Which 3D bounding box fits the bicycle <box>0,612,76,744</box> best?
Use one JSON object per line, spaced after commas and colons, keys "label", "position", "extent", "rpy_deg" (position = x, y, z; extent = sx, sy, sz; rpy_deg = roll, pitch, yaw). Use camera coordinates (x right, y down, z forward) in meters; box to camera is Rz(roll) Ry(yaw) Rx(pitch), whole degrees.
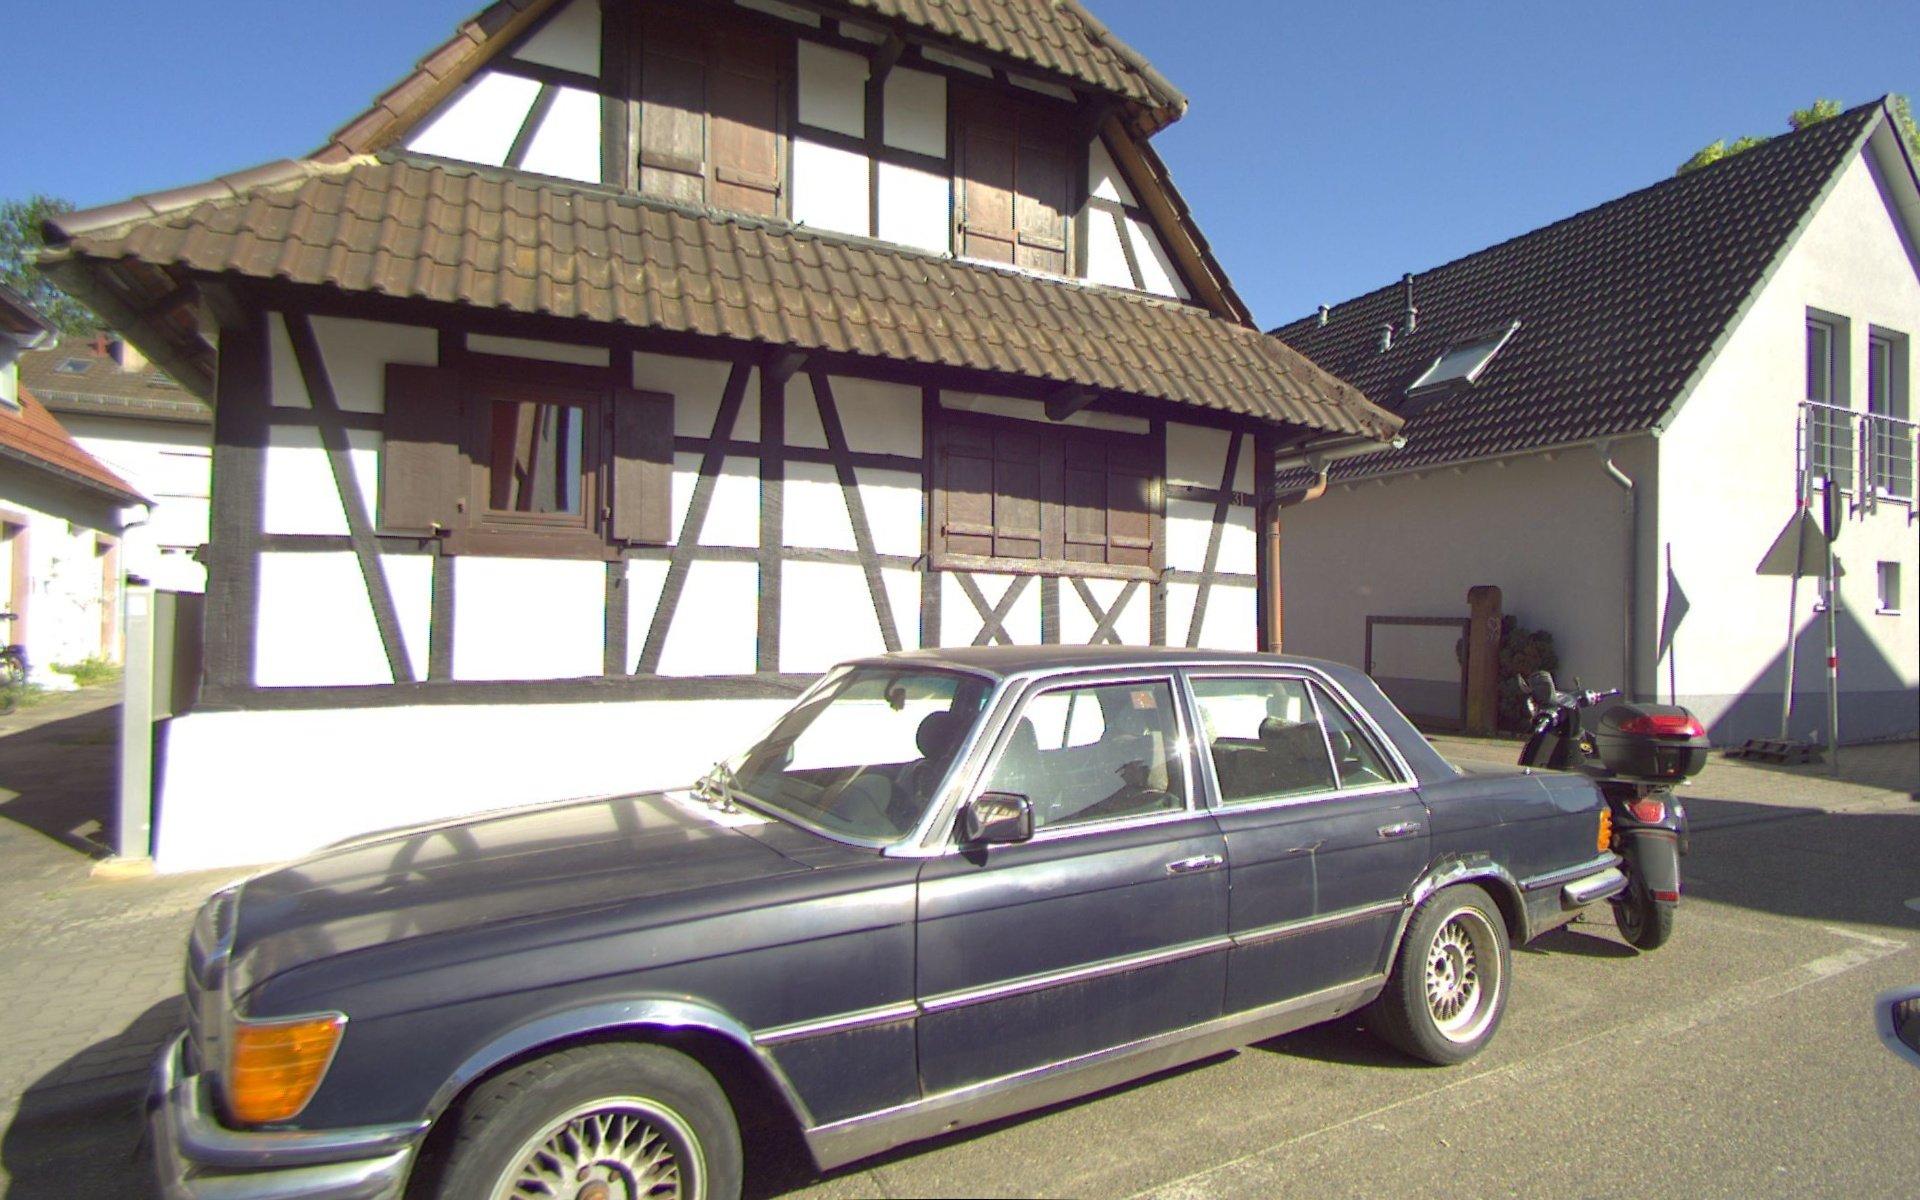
{"label": "bicycle", "position": [-10.676, 0.810, 11.150], "extent": [0.729, 1.261, 2.229], "rpy_deg": [1, 1, -27]}

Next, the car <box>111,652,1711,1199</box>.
{"label": "car", "position": [0.409, 0.937, 3.585], "extent": [4.977, 1.424, 1.836], "rpy_deg": [1, -3, -30]}

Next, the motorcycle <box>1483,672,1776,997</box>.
{"label": "motorcycle", "position": [3.339, 1.054, 5.237], "extent": [0.614, 1.248, 1.996], "rpy_deg": [-1, -1, 14]}

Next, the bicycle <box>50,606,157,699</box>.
{"label": "bicycle", "position": [-13.164, 0.759, 15.518], "extent": [0.729, 1.261, 2.229], "rpy_deg": [1, 1, -27]}

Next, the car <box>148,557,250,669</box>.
{"label": "car", "position": [-19.025, 0.257, 25.267], "extent": [1.784, 2.566, 3.962], "rpy_deg": [1, 1, -34]}
